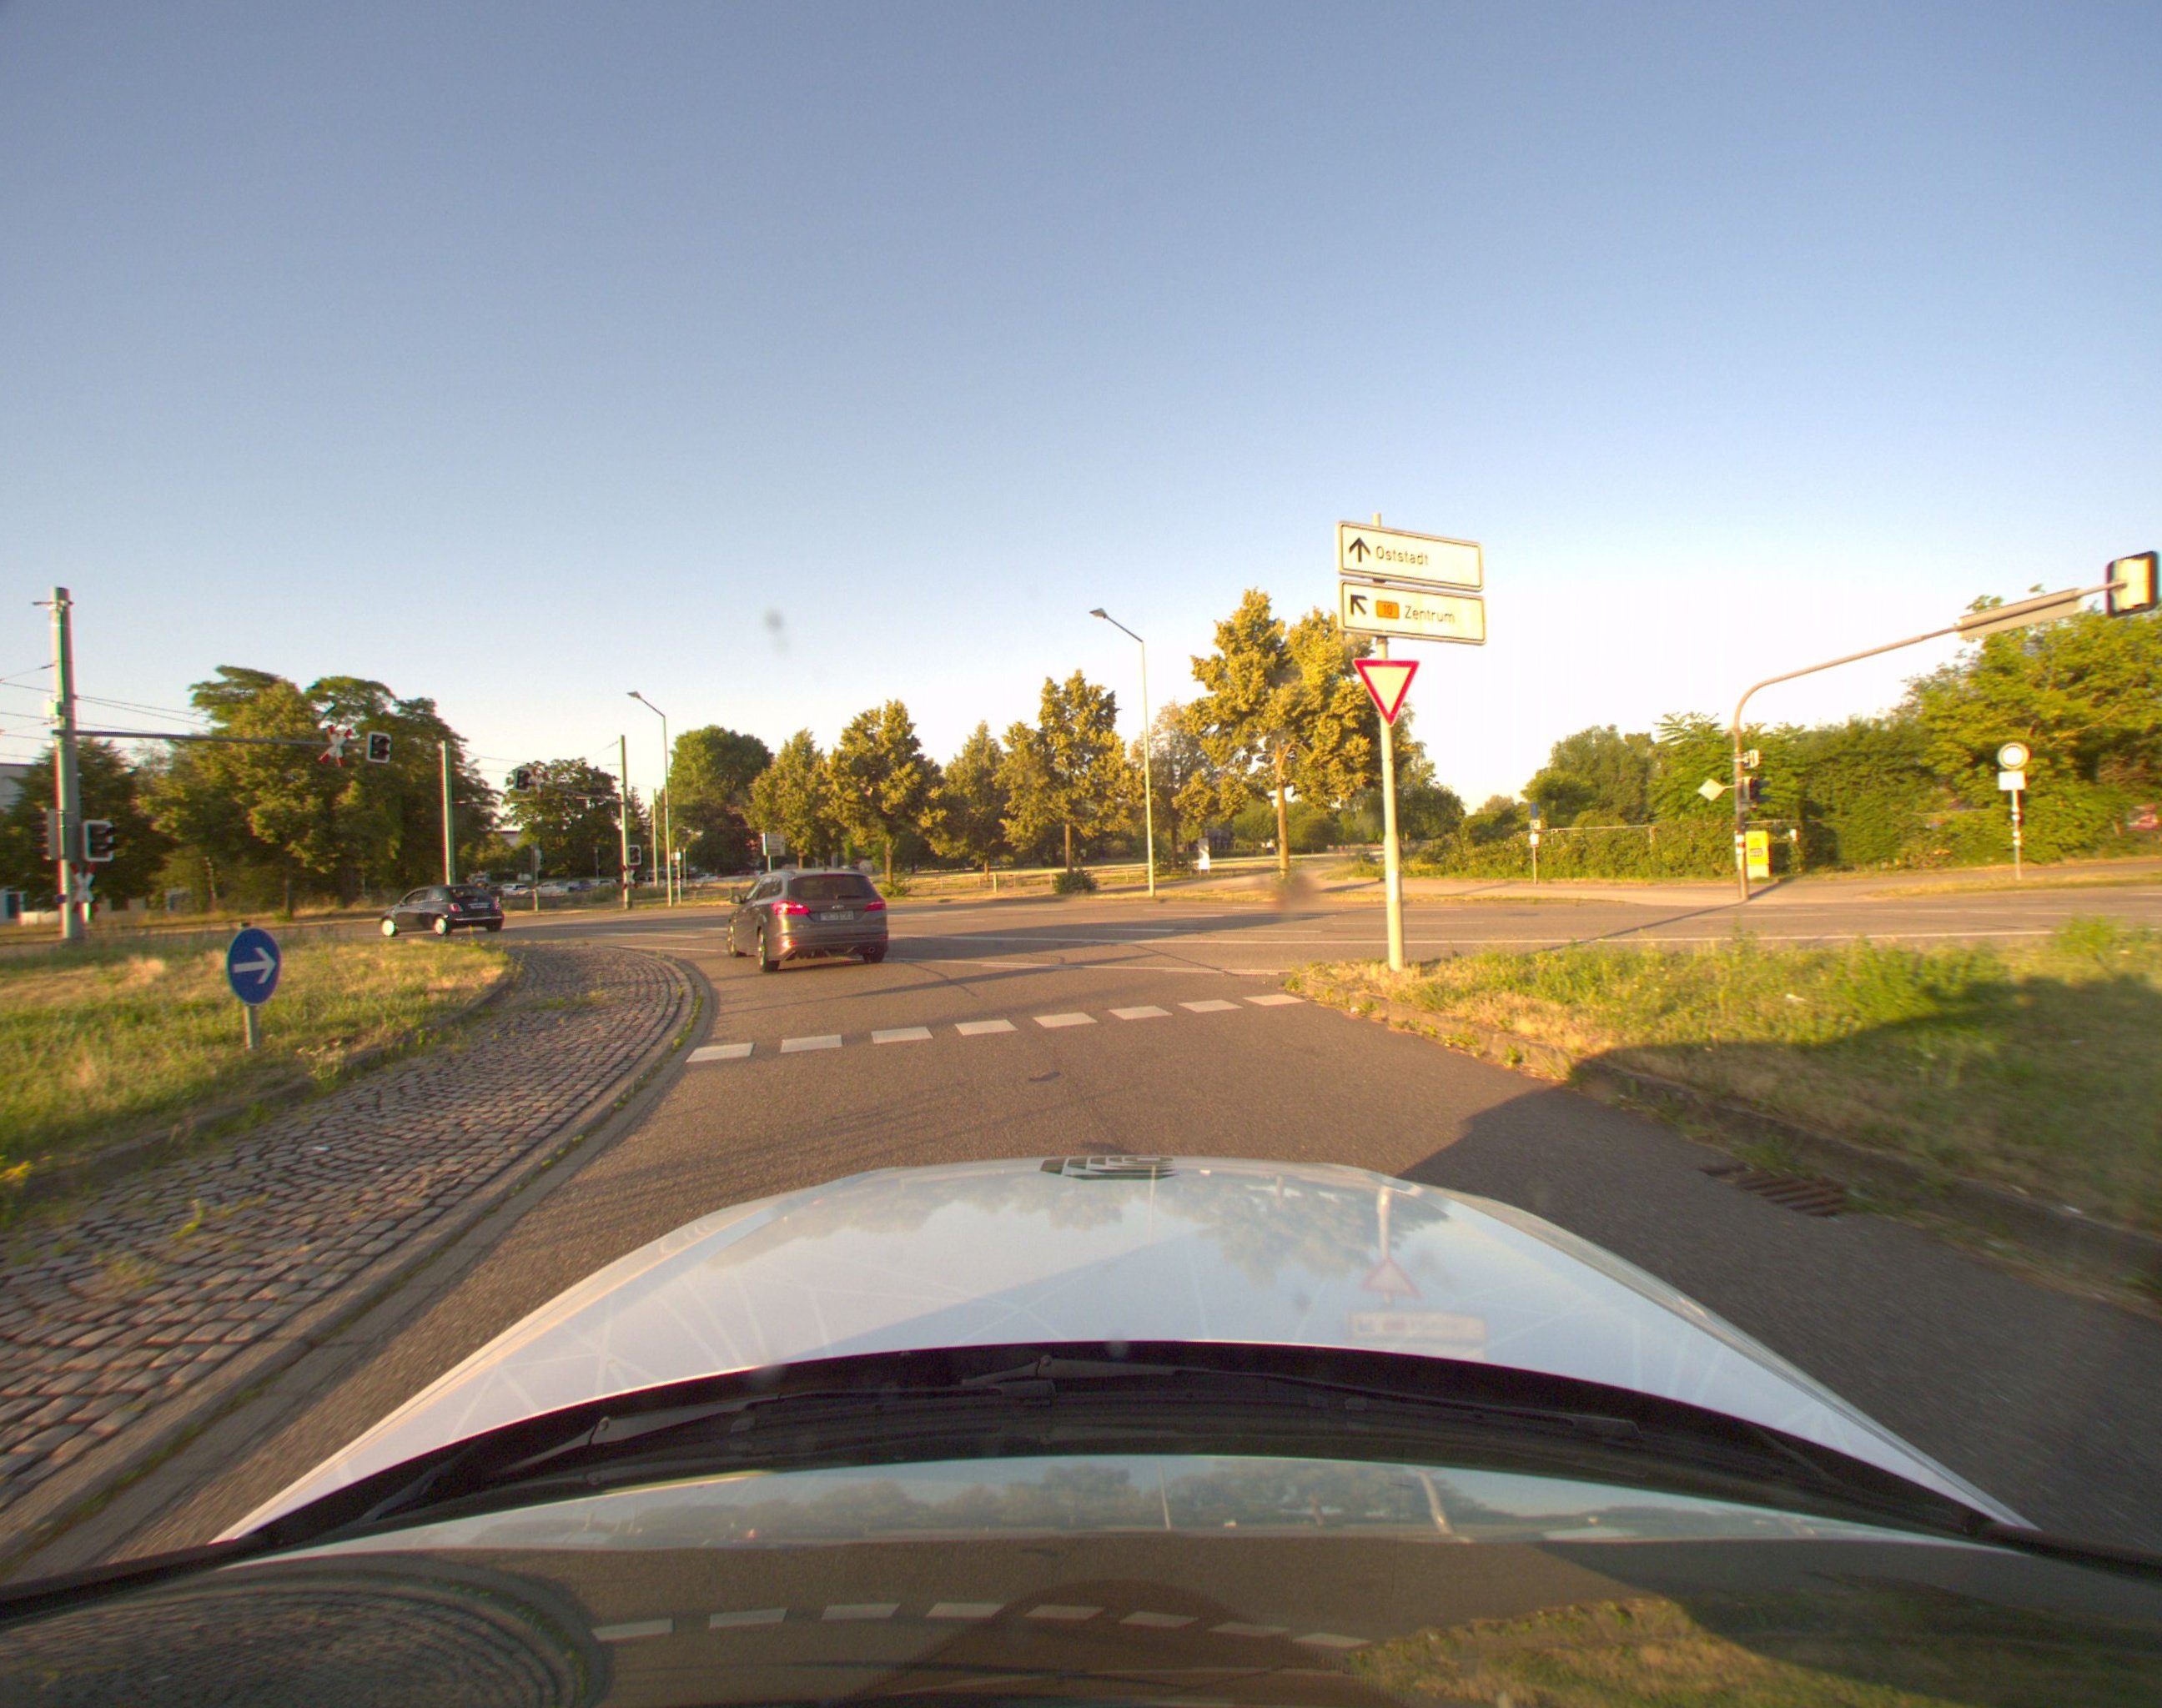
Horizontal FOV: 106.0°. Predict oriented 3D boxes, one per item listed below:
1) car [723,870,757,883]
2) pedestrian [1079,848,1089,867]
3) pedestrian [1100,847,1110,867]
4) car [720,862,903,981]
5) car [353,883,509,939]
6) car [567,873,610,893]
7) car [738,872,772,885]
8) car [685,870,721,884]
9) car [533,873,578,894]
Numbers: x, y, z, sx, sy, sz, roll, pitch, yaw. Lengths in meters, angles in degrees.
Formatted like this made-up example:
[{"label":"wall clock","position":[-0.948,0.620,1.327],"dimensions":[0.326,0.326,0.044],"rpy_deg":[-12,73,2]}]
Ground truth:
[{"label":"car","position":[-47.303,3.124,112.863],"dimensions":[3.954,1.551,2.010],"rpy_deg":[-2,0,20]},{"label":"pedestrian","position":[0.276,0.317,70.158],"dimensions":[0.582,1.626,0.528],"rpy_deg":[-2,0,-28]},{"label":"pedestrian","position":[2.071,0.255,70.004],"dimensions":[0.623,1.626,0.524],"rpy_deg":[-2,0,-38]},{"label":"car","position":[-4.416,0.933,12.910],"dimensions":[1.758,1.466,4.092],"rpy_deg":[-3,1,-32]},{"label":"car","position":[-19.406,1.697,24.322],"dimensions":[4.085,1.446,1.761],"rpy_deg":[-3,0,21]},{"label":"car","position":[-55.618,3.303,91.982],"dimensions":[3.953,2.098,2.010],"rpy_deg":[-3,0,21]},{"label":"car","position":[-46.053,3.434,115.098],"dimensions":[3.954,1.551,2.010],"rpy_deg":[-2,0,20]},{"label":"car","position":[-49.443,3.002,106.476],"dimensions":[3.954,1.551,2.010],"rpy_deg":[-2,0,20]},{"label":"car","position":[-57.118,3.179,88.512],"dimensions":[3.953,2.098,2.010],"rpy_deg":[-3,0,21]}]
